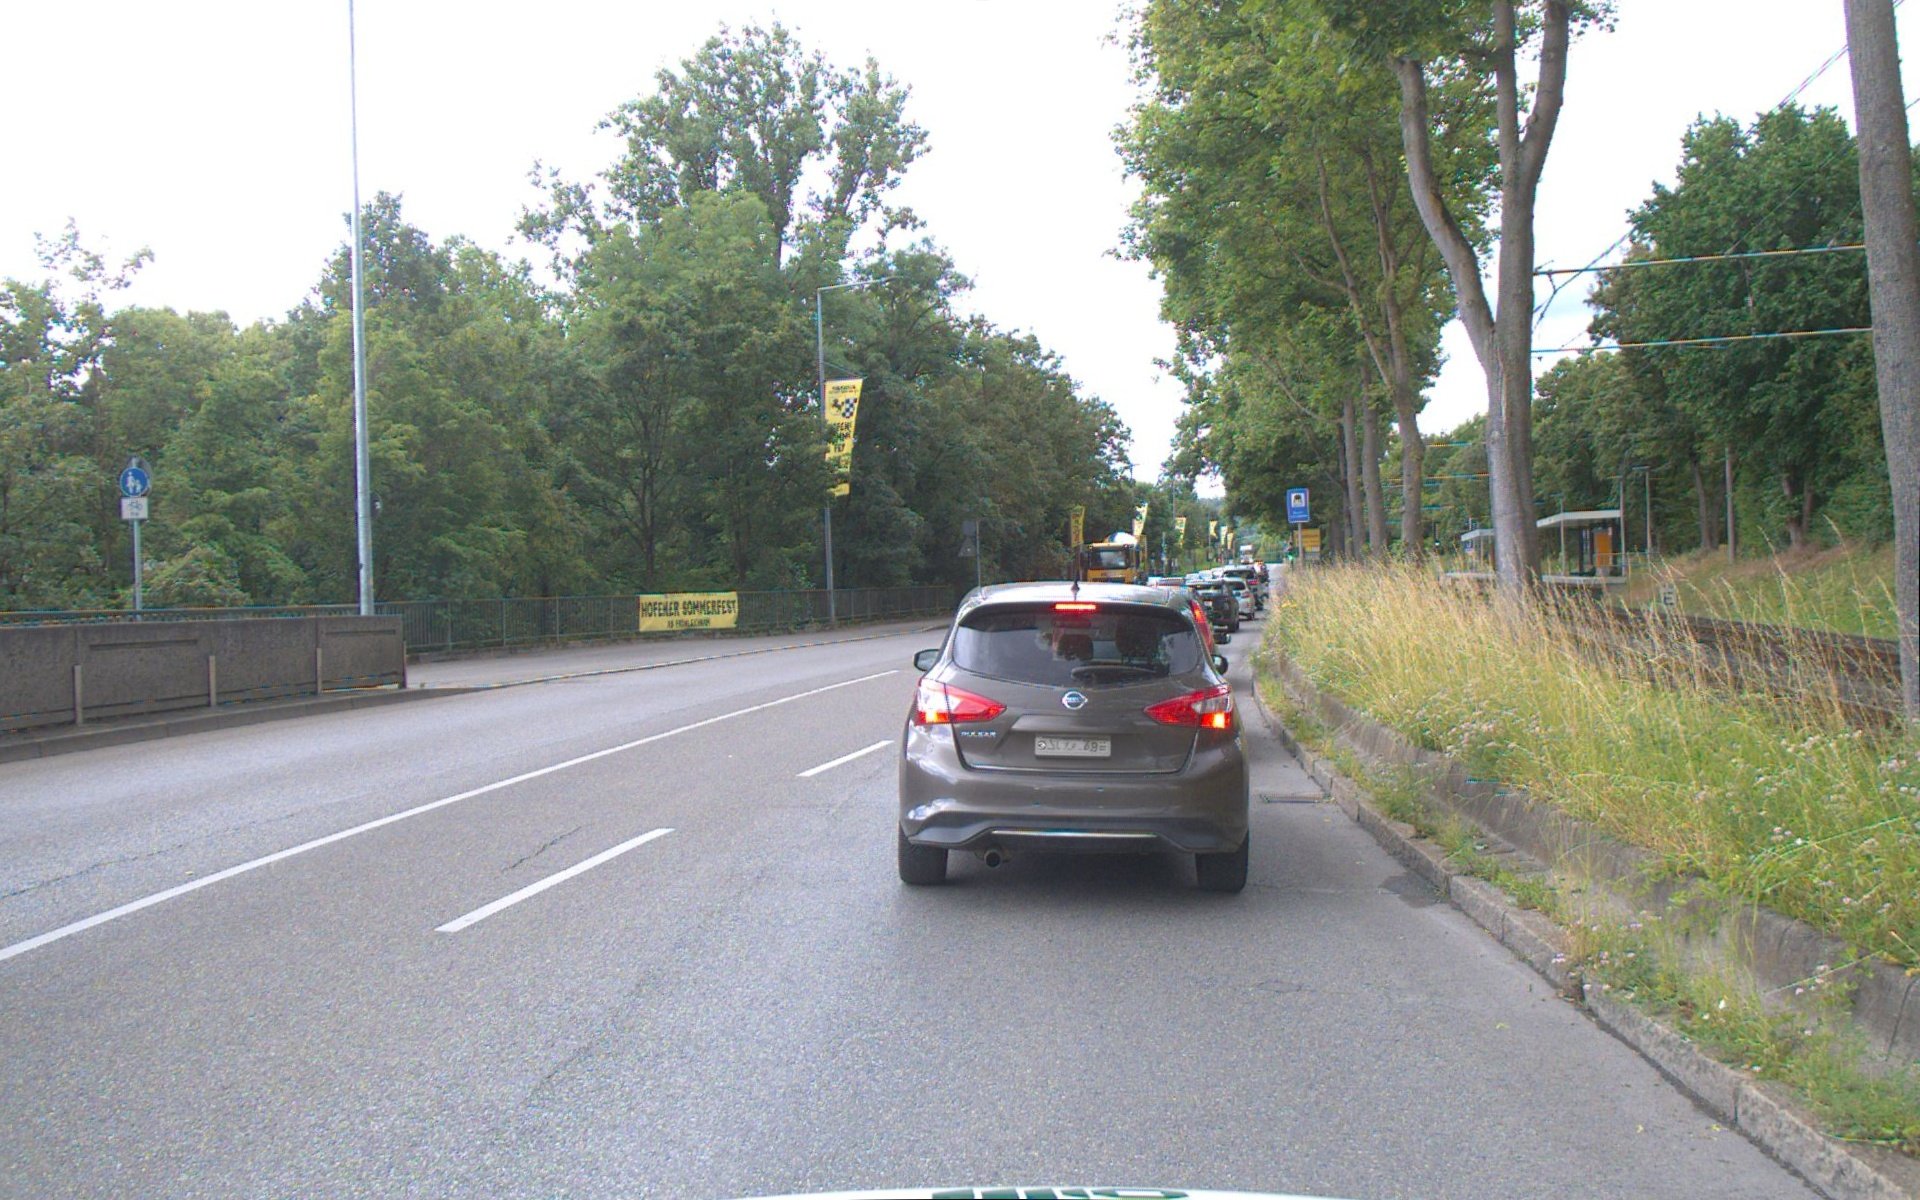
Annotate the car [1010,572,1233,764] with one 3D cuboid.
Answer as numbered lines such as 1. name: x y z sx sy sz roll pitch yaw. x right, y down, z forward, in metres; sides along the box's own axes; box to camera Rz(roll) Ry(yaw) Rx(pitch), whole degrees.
1. car: 1.500 0.596 15.849 1.853 1.601 4.002 0 -1 4

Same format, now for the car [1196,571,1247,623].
1. car: 9.409 -0.077 59.329 1.681 1.723 4.003 -2 -2 10

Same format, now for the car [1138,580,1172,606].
1. car: 11.608 -0.431 98.186 1.729 1.505 4.004 0 1 10

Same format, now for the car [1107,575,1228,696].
1. car: 3.008 0.480 23.918 1.544 1.565 4.003 -2 0 7

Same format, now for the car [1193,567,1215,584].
1. car: 22.666 -2.272 153.740 1.779 1.488 4.004 -2 0 12

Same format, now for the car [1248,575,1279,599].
1. car: 19.318 -0.807 105.061 1.850 1.470 3.810 -1 0 12

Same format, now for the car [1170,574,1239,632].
1. car: 7.043 0.097 47.360 1.766 1.567 4.003 0 0 11

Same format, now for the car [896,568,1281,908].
1. car: 0.679 0.644 9.511 1.737 1.520 4.001 0 -1 3

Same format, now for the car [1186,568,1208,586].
1. car: 20.467 -1.976 142.474 1.684 1.467 4.003 -2 0 10

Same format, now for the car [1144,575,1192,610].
1. car: 9.667 -0.317 76.715 1.812 1.512 4.424 -1 -1 12

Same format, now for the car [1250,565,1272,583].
1. car: 28.174 -2.411 154.682 1.850 1.682 4.004 -1 0 12

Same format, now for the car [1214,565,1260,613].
1. car: 12.293 -0.485 73.248 1.850 2.049 4.004 -1 0 12

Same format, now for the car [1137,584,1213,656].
1. car: 4.516 0.403 34.562 1.468 1.388 3.590 -2 0 8

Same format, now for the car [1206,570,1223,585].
1. car: 28.017 -2.511 181.817 1.715 1.445 4.003 -2 -2 10

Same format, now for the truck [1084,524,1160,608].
1. truck: 8.370 -1.682 84.187 2.598 4.007 10.120 0 0 13
